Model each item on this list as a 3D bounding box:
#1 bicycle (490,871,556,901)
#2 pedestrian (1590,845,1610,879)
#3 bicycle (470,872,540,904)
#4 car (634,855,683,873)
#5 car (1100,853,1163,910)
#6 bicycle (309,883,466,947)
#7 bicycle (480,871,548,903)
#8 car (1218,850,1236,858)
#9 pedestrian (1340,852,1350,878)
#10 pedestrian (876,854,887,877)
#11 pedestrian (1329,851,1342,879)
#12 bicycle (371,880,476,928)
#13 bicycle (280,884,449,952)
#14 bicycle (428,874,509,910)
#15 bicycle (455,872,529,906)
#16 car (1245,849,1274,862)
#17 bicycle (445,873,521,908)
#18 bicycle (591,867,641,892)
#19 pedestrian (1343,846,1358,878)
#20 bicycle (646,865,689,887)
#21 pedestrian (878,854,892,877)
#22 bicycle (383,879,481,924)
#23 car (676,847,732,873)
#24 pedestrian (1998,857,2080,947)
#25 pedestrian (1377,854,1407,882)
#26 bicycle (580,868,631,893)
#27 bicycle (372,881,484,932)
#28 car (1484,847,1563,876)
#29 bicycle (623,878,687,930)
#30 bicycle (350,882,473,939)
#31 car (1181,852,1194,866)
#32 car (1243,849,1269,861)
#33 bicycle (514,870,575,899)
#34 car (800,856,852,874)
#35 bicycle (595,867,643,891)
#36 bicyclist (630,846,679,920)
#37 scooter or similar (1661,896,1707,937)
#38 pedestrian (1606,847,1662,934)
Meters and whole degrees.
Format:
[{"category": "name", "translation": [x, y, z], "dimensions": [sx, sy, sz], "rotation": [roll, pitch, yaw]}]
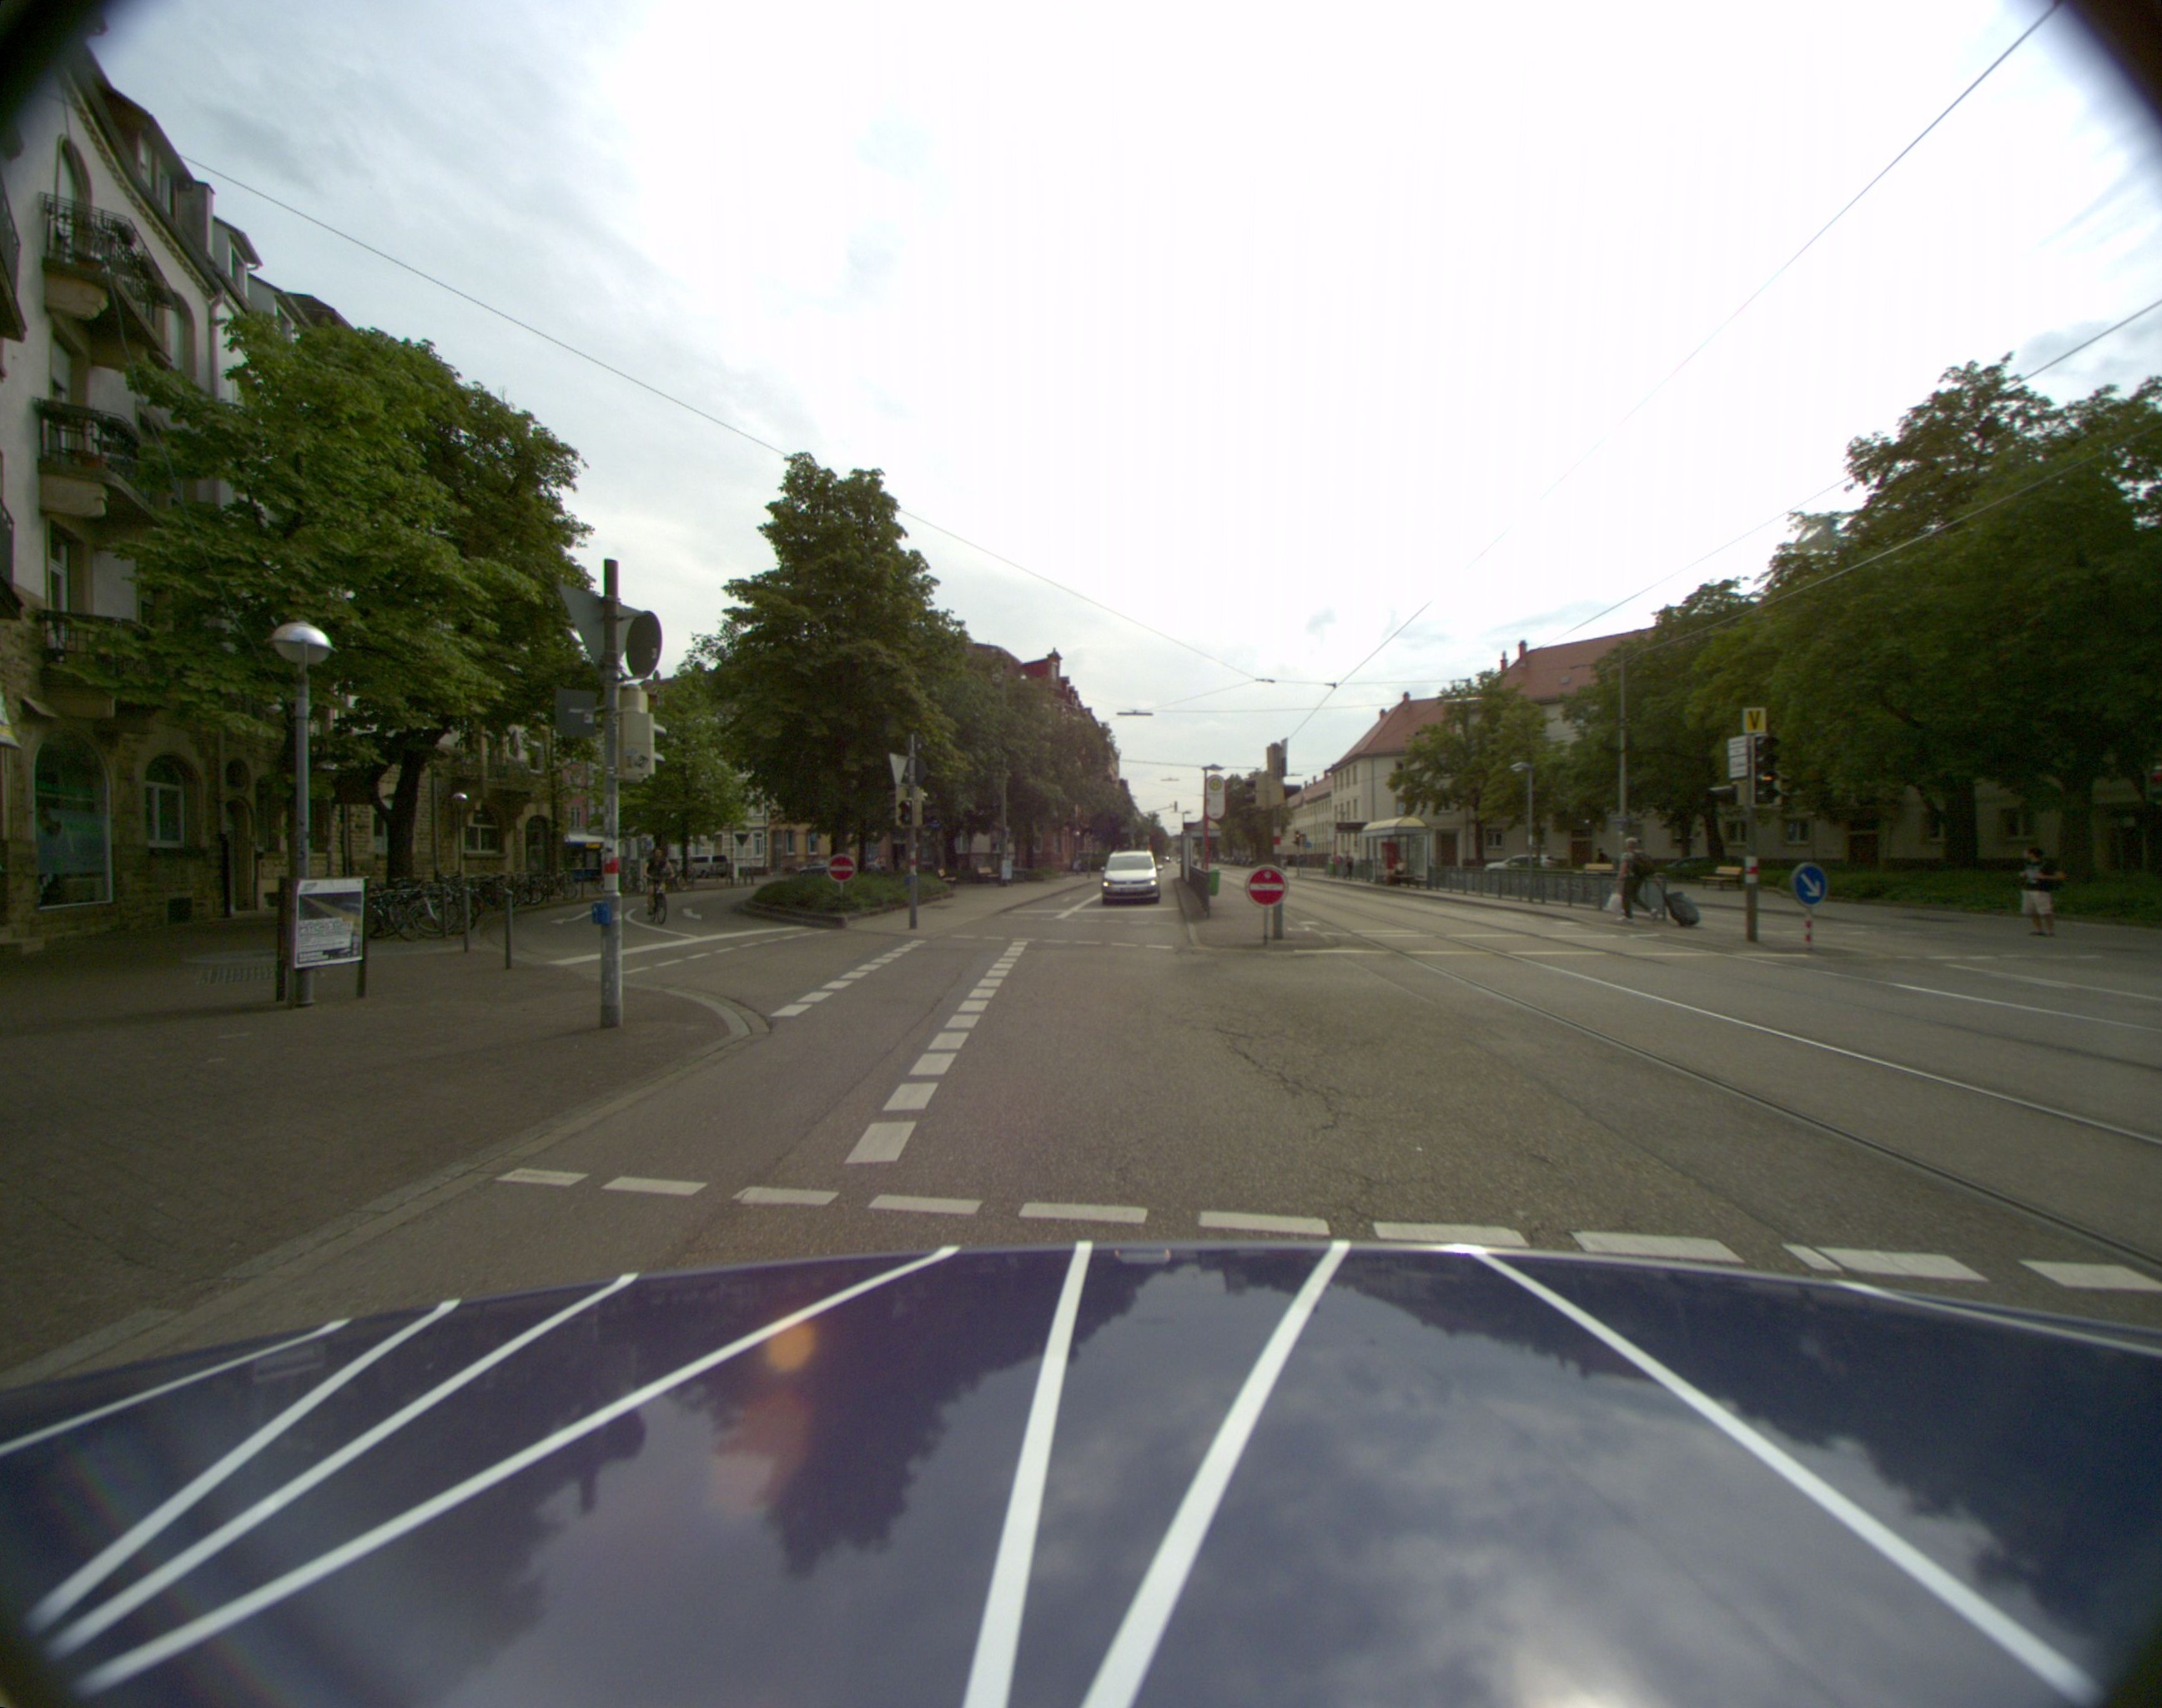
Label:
[{"category": "bicycle", "translation": [-19.561, 1.114, 26.663], "dimensions": [1.795, 1.032, 0.482], "rotation": [0, -1, -22]}, {"category": "pedestrian", "translation": [31.173, 0.489, 45.635], "dimensions": [0.862, 2.002, 0.766], "rotation": [-1, 1, 41]}, {"category": "bicycle", "translation": [-19.075, 1.116, 25.206], "dimensions": [1.795, 1.032, 0.482], "rotation": [0, -1, -22]}, {"category": "car", "translation": [-36.819, 0.898, 66.232], "dimensions": [3.949, 1.464, 1.742], "rotation": [-1, 0, 25]}, {"category": "car", "translation": [1.774, 0.841, 25.395], "dimensions": [1.766, 1.661, 4.331], "rotation": [-2, 0, 7]}, {"category": "bicycle", "translation": [-12.542, 1.068, 13.809], "dimensions": [0.481, 1.032, 2.053], "rotation": [-1, -1, 37]}, {"category": "bicycle", "translation": [-19.341, 1.116, 25.952], "dimensions": [1.795, 1.032, 0.482], "rotation": [0, -1, -22]}, {"category": "car", "translation": [34.229, -0.060, 177.984], "dimensions": [3.994, 1.716, 1.877], "rotation": [-1, 0, 9]}, {"category": "pedestrian", "translation": [17.942, 0.738, 51.631], "dimensions": [0.501, 1.694, 0.402], "rotation": [-2, 1, -7]}, {"category": "pedestrian", "translation": [-14.563, 0.842, 55.596], "dimensions": [0.612, 1.684, 0.641], "rotation": [0, 1, 1]}, {"category": "pedestrian", "translation": [17.263, 0.740, 51.481], "dimensions": [0.658, 1.824, 0.464], "rotation": [-2, 1, -7]}, {"category": "bicycle", "translation": [-15.063, 1.130, 17.456], "dimensions": [1.797, 1.032, 0.481], "rotation": [0, -1, -41]}, {"category": "bicycle", "translation": [-12.186, 1.055, 12.999], "dimensions": [0.481, 1.032, 2.053], "rotation": [-1, -1, 37]}, {"category": "bicycle", "translation": [-18.162, 1.119, 22.570], "dimensions": [1.795, 1.032, 0.482], "rotation": [0, -1, -22]}, {"category": "bicycle", "translation": [-18.751, 1.111, 24.208], "dimensions": [1.795, 1.032, 0.482], "rotation": [0, -1, -22]}, {"category": "car", "translation": [26.302, 0.228, 111.900], "dimensions": [3.994, 1.716, 1.877], "rotation": [-1, 0, 9]}, {"category": "bicycle", "translation": [-18.480, 1.113, 23.517], "dimensions": [1.795, 1.032, 0.482], "rotation": [0, -1, -22]}, {"category": "bicycle", "translation": [-20.215, 1.098, 33.033], "dimensions": [1.793, 1.032, 0.482], "rotation": [0, -1, -6]}, {"category": "pedestrian", "translation": [14.911, 0.440, 42.086], "dimensions": [0.588, 1.694, 0.619], "rotation": [-1, 1, 3]}, {"category": "bicycle", "translation": [-19.992, 1.054, 36.769], "dimensions": [1.793, 1.032, 0.482], "rotation": [0, -1, -6]}, {"category": "pedestrian", "translation": [-14.583, 0.833, 56.614], "dimensions": [0.789, 1.684, 0.779], "rotation": [0, 1, 3]}, {"category": "bicycle", "translation": [-15.857, 1.144, 18.613], "dimensions": [1.797, 1.032, 0.481], "rotation": [0, -1, -41]}, {"category": "car", "translation": [-31.659, 0.494, 63.826], "dimensions": [4.534, 2.104, 1.742], "rotation": [-1, 0, 25]}, {"category": "pedestrian", "translation": [18.253, 0.892, 14.493], "dimensions": [0.654, 1.680, 0.712], "rotation": [0, 1, 3]}, {"category": "pedestrian", "translation": [14.007, 0.641, 34.224], "dimensions": [1.032, 1.229, 0.724], "rotation": [-1, 1, 5]}, {"category": "bicycle", "translation": [-20.160, 1.124, 32.247], "dimensions": [1.793, 1.032, 0.482], "rotation": [0, -1, -6]}, {"category": "bicycle", "translation": [-14.141, 1.108, 16.497], "dimensions": [0.481, 1.032, 1.797], "rotation": [-1, -1, 43]}, {"category": "car", "translation": [29.299, 0.505, 50.354], "dimensions": [4.187, 1.854, 1.857], "rotation": [-1, 0, 41]}, {"category": "bicycle", "translation": [-10.160, 1.145, 18.051], "dimensions": [0.888, 1.039, 3.088], "rotation": [-1, 0, -38]}, {"category": "bicycle", "translation": [-13.248, 1.088, 15.074], "dimensions": [0.481, 1.032, 1.797], "rotation": [-1, -1, 43]}, {"category": "car", "translation": [16.728, 0.792, 119.218], "dimensions": [1.997, 2.002, 4.002], "rotation": [-1, 0, 8]}, {"category": "car", "translation": [27.886, 0.176, 121.117], "dimensions": [3.994, 1.716, 1.877], "rotation": [-1, 0, 9]}, {"category": "bicycle", "translation": [-19.827, 1.118, 28.105], "dimensions": [1.795, 1.032, 0.482], "rotation": [0, -1, -22]}, {"category": "car", "translation": [-19.041, 0.841, 56.697], "dimensions": [3.580, 1.259, 1.742], "rotation": [-1, 0, 30]}, {"category": "bicycle", "translation": [-20.531, 1.118, 33.768], "dimensions": [1.793, 1.032, 0.482], "rotation": [0, -1, -6]}, {"category": "bicyclist", "translation": [-10.108, 0.663, 18.004], "dimensions": [0.841, 1.680, 1.243], "rotation": [0, 0, -37]}, {"category": "scooter or similar", "translation": [11.715, 1.203, 14.774], "dimensions": [0.669, 0.708, 0.605], "rotation": [3, 2, 37]}, {"category": "pedestrian", "translation": [11.077, 0.705, 15.222], "dimensions": [0.812, 1.681, 0.686], "rotation": [3, 2, 39]}]
